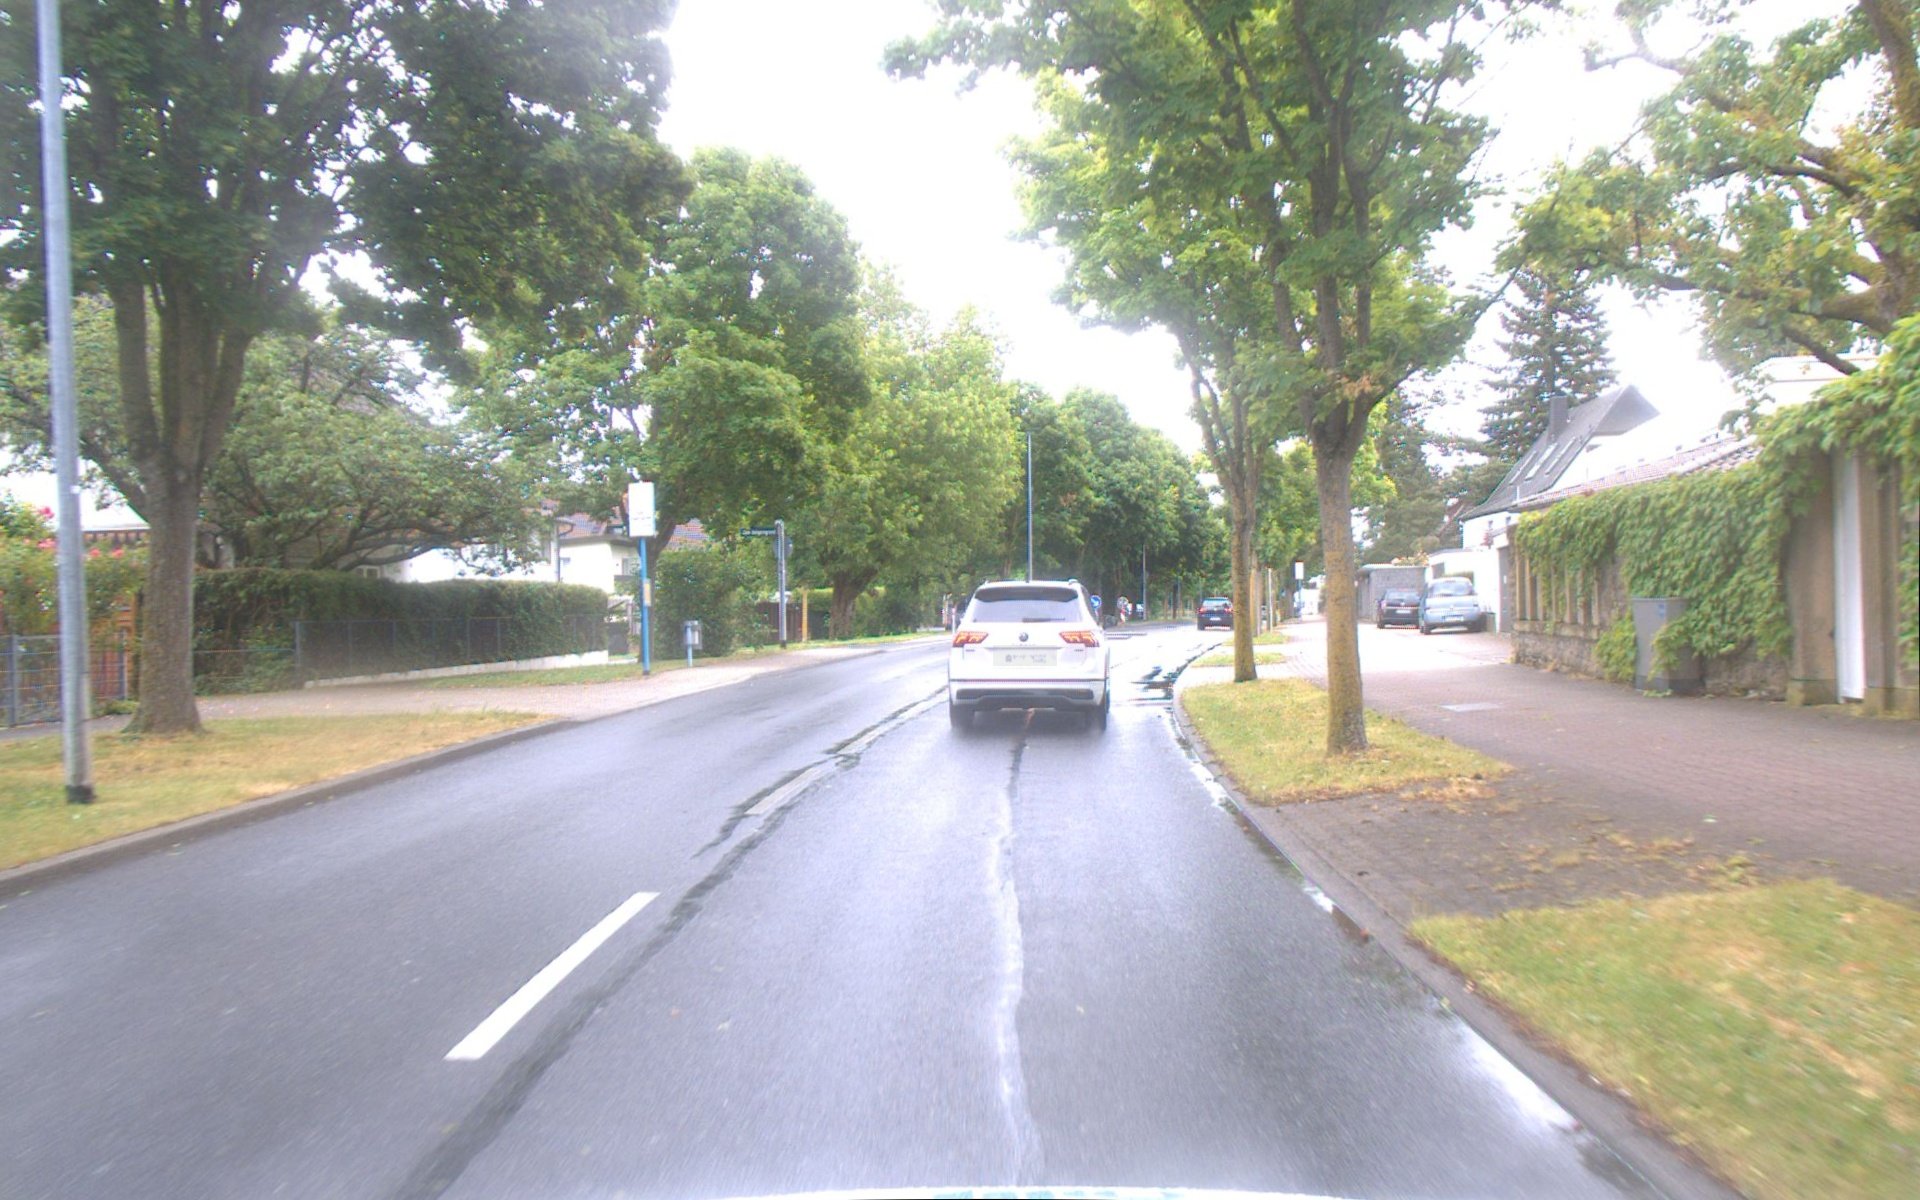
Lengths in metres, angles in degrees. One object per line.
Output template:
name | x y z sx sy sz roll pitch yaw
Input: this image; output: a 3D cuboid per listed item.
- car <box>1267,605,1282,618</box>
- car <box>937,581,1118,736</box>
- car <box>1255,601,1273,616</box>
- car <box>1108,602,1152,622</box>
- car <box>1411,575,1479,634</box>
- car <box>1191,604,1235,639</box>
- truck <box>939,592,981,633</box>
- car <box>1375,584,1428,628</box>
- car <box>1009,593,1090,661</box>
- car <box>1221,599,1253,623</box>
car | 34.083 1.188 179.300 1.602 1.349 4.003 1 0 10
car | 0.879 0.622 19.826 1.955 1.660 4.002 0 0 4
car | 28.510 0.746 154.956 1.602 1.349 4.003 1 0 10
car | 13.577 0.987 132.165 1.816 1.508 3.973 -1 -1 -22
car | 14.630 0.130 50.050 1.706 1.639 4.003 -2 0 13
car | 11.861 0.989 77.271 1.801 1.513 4.003 1 0 12
truck | 0.053 0.870 113.207 2.236 2.642 5.878 -1 -1 6
car | 16.718 0.223 62.714 1.733 1.524 4.548 -2 0 13
car | 2.191 0.662 41.294 1.803 1.513 4.000 -3 -1 1
car | 18.529 0.751 110.879 1.801 1.513 4.003 -3 -1 6
